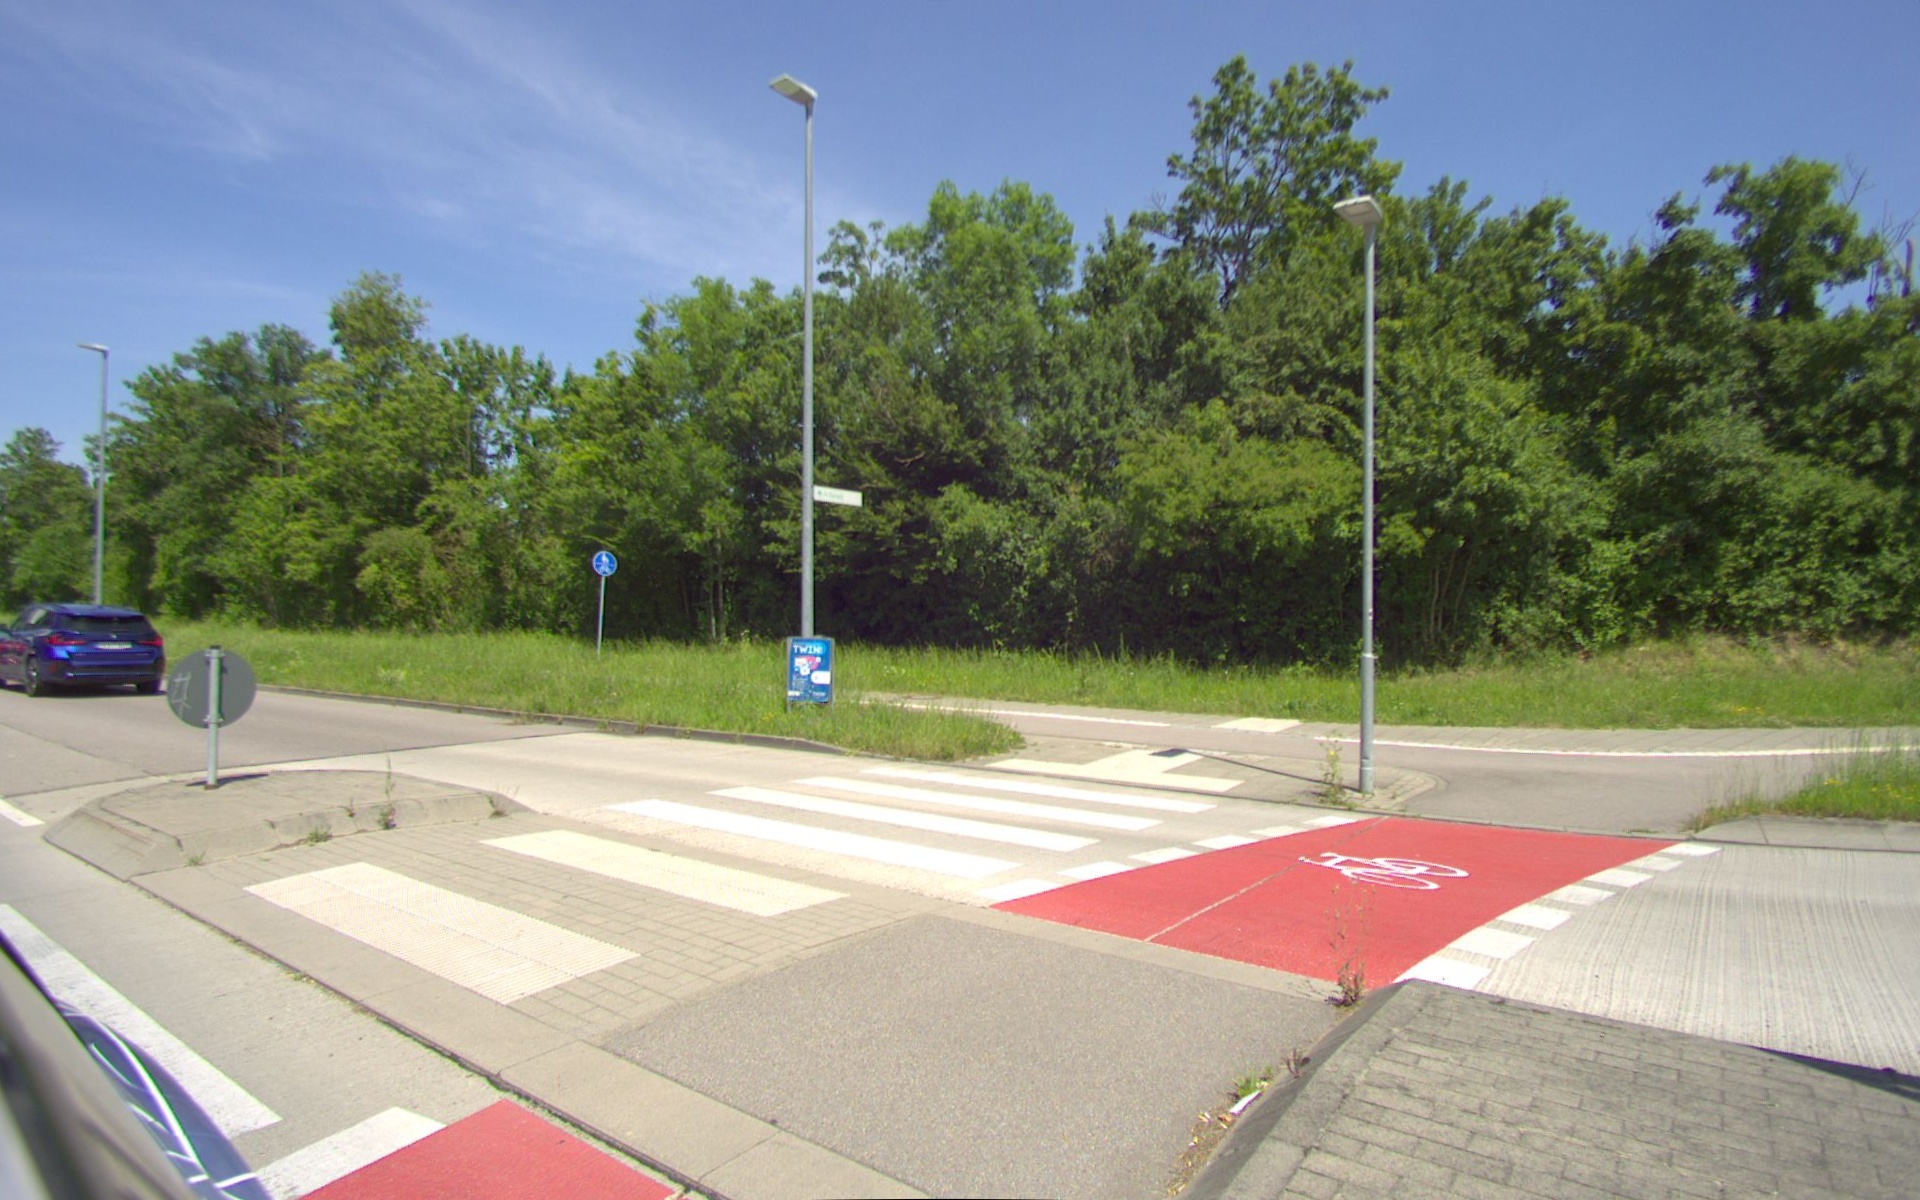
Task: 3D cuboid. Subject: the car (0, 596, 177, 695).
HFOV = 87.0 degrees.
[{"bbox_3d":[-16.344,0.846,18.636,4.315,1.608,1.975,-2,-3,37],"label":"car"}]
